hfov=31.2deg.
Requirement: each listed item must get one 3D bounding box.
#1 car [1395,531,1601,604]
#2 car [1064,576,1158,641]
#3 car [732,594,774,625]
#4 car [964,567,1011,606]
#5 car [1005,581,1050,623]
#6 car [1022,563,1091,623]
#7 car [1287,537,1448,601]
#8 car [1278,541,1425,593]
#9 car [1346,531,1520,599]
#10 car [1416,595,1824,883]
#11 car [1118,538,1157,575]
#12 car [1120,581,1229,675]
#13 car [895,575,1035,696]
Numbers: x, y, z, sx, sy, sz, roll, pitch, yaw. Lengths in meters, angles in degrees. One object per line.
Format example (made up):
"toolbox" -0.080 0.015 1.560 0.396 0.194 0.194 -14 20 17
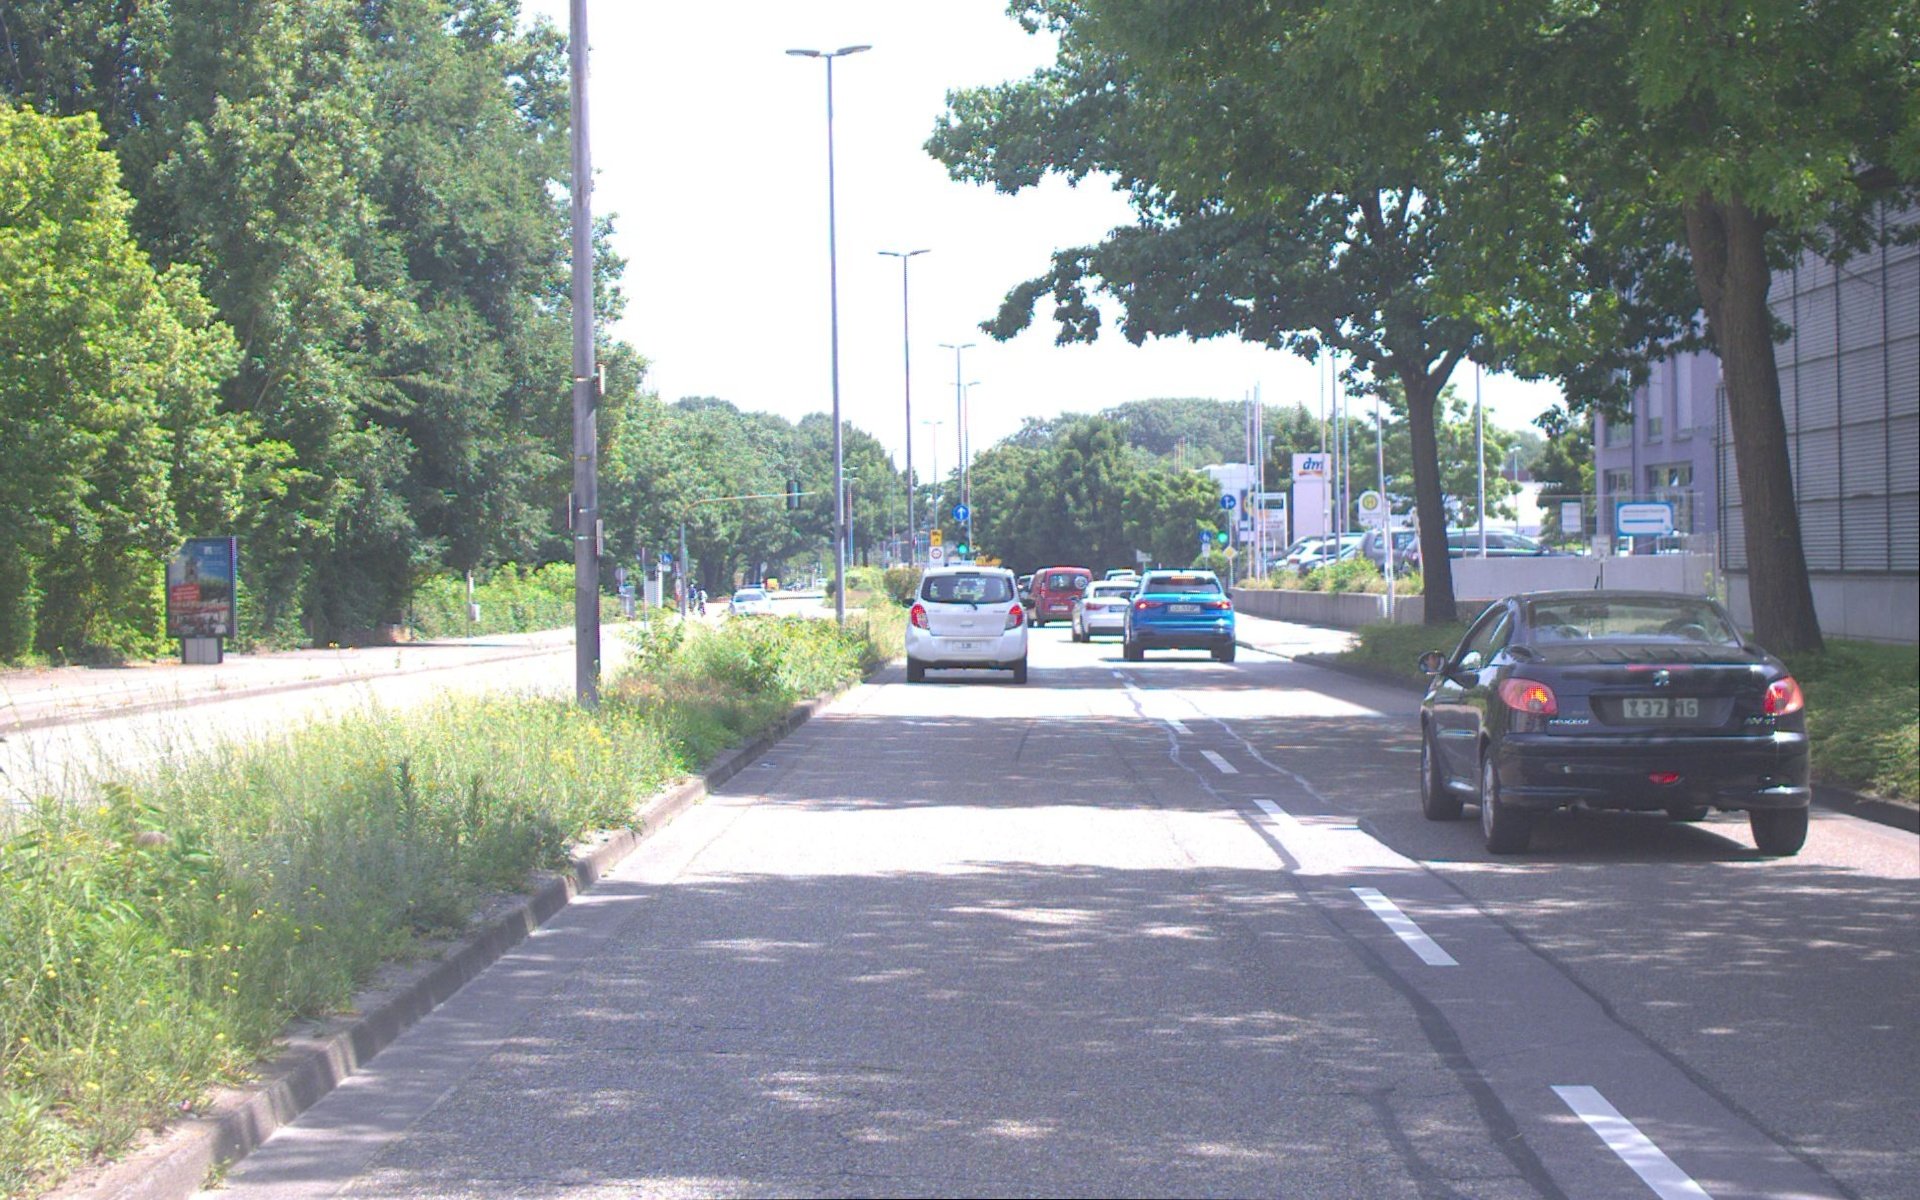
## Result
"car" 12.611 -0.758 80.791 4.499 1.577 2.000 -2 0 0
"car" 3.479 0.190 79.636 1.993 1.437 4.000 -1 0 0
"car" -9.609 0.439 159.787 1.736 1.408 4.372 -1 0 -1
"car" 1.217 -0.606 152.332 1.819 1.656 4.001 -1 1 -3
"car" 2.766 0.075 141.347 1.797 1.684 4.000 -2 0 1
"car" 2.868 -0.219 102.997 1.776 1.734 4.000 -1 0 -2
"car" 11.329 -0.846 95.775 4.227 1.642 2.000 -2 0 0
"car" 12.663 -1.053 111.435 4.535 1.539 2.000 -2 0 1
"car" 12.286 -0.899 89.535 4.227 1.642 2.000 -2 0 0
"car" 3.539 0.692 19.000 1.627 1.359 3.605 1 1 2
"car" 9.863 -2.424 191.206 1.769 2.007 3.991 -1 1 -2
"car" 3.759 0.483 60.265 1.828 1.575 3.605 -1 -1 4
"car" 0.109 0.446 46.492 1.748 1.515 3.745 0 1 2
